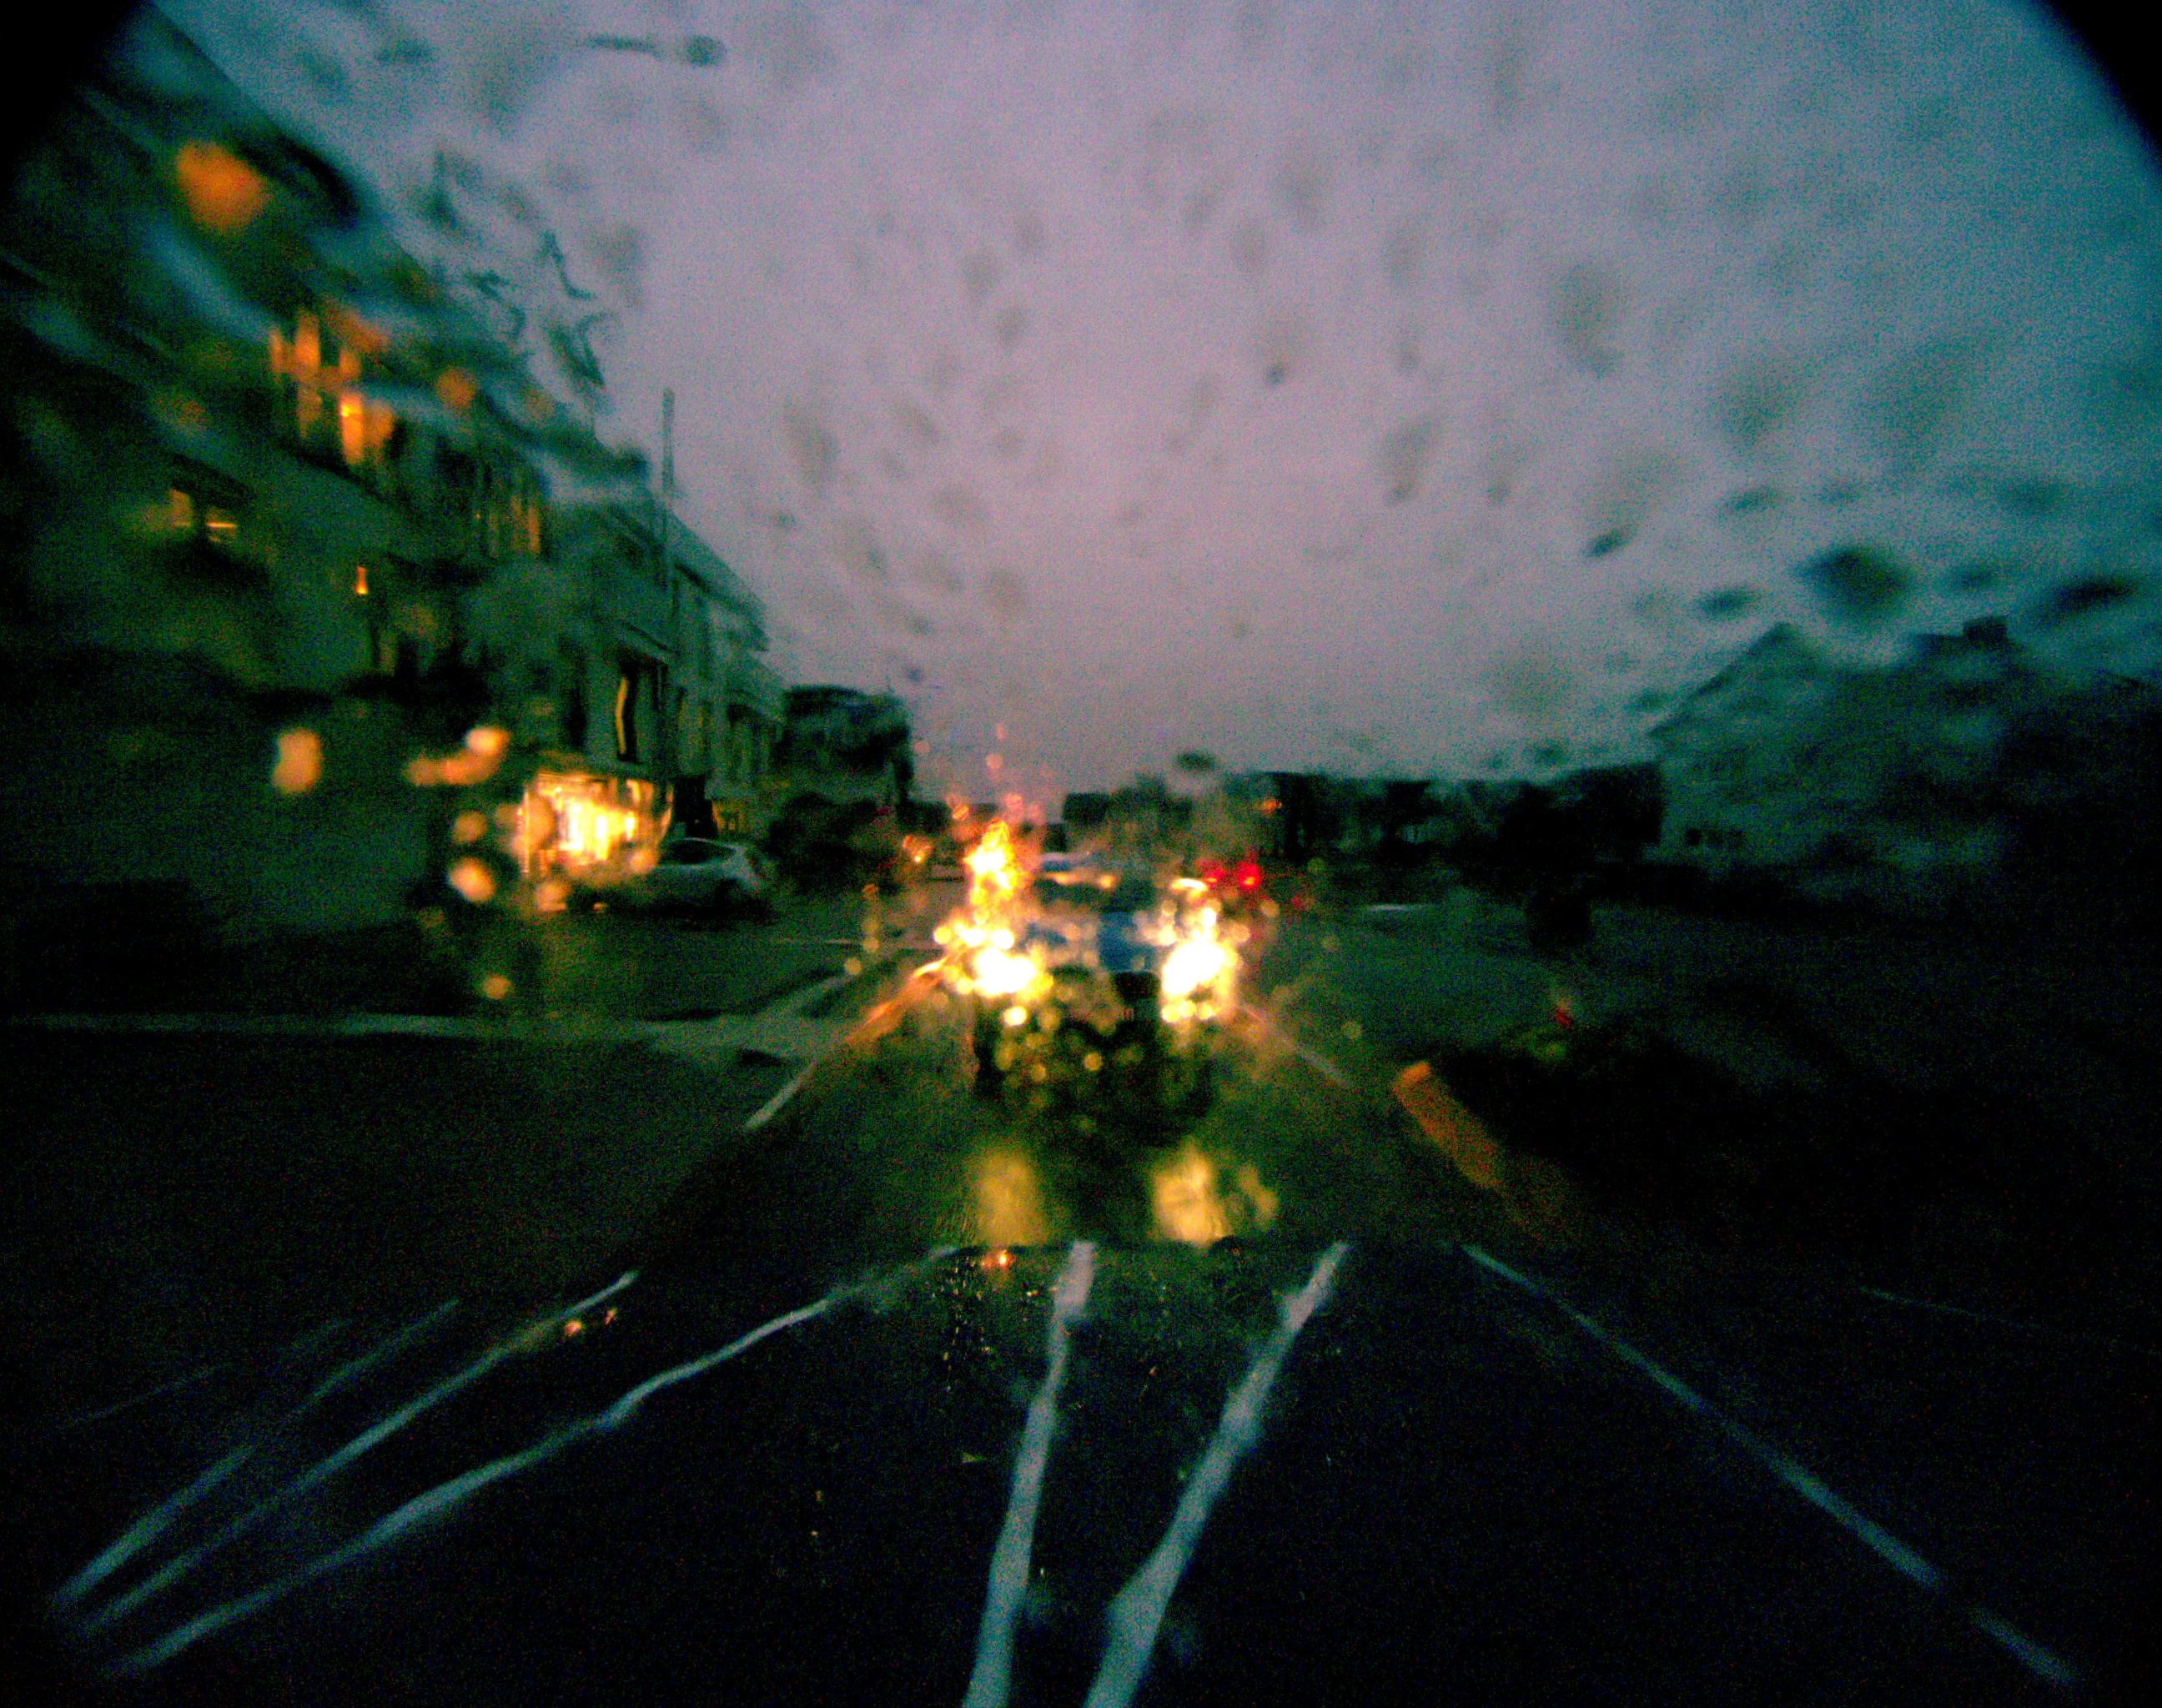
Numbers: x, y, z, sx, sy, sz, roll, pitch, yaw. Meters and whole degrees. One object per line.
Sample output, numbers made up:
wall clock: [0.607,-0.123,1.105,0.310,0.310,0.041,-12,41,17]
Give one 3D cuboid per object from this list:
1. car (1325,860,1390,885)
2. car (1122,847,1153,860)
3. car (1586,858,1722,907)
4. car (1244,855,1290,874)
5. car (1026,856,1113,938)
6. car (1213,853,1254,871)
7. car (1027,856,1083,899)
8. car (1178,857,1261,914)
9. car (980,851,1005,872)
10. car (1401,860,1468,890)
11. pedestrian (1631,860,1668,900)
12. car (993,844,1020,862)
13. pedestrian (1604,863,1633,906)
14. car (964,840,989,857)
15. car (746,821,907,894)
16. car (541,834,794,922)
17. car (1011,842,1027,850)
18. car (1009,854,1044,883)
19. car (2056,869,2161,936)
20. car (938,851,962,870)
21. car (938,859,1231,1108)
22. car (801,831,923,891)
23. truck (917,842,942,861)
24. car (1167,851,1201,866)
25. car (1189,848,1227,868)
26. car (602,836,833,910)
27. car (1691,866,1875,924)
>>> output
car: [17.910,1.164,49.486,1.801,1.460,4.251,1,1,-16]
car: [6.510,-0.086,88.361,1.802,1.460,4.607,1,1,-20]
car: [21.575,1.010,28.821,1.704,1.651,3.955,0,1,-12]
car: [15.023,0.834,61.588,1.801,1.460,4.251,1,1,-16]
car: [-0.372,0.859,16.986,1.682,1.614,3.998,0,0,-5]
car: [13.355,0.685,66.822,1.801,1.460,4.251,1,1,-16]
car: [-1.026,0.810,28.210,1.573,1.460,3.613,-1,0,-9]
car: [3.774,0.815,21.213,1.508,1.403,3.365,0,1,-4]
car: [-6.918,0.560,59.084,1.835,1.535,3.712,-1,0,-8]
car: [19.354,1.140,41.708,1.479,1.500,3.499,1,1,-13]
pedestrian: [17.780,0.803,23.762,0.693,1.242,0.602,0,1,-7]
car: [-8.488,-0.135,85.915,2.002,2.002,3.992,-1,1,-21]
pedestrian: [16.695,0.948,23.590,0.512,1.294,0.601,0,1,-40]
car: [-11.166,-0.588,80.788,1.726,1.802,4.128,-1,1,-21]
car: [-8.239,0.122,24.973,4.554,1.923,1.973,5,0,-6]
car: [-7.972,0.445,15.038,4.002,1.495,1.811,2,2,-13]
car: [-10.931,-1.452,133.724,1.802,1.460,4.249,1,1,-21]
car: [-2.923,0.745,41.086,1.741,1.434,3.998,-1,1,-4]
car: [30.474,1.418,21.531,4.001,1.673,1.715,3,2,-10]
car: [-10.822,0.520,62.772,1.849,1.577,3.765,1,0,-10]
car: [-0.120,0.846,6.947,1.889,1.569,3.998,-1,0,-5]
car: [-8.183,0.268,28.738,4.154,1.625,1.753,8,-1,-12]
truck: [-17.891,-0.318,89.262,2.251,2.218,6.094,-1,1,-17]
car: [10.386,0.436,76.997,1.678,1.460,4.010,2,-1,-20]
car: [11.909,0.356,71.586,1.801,1.816,4.250,1,1,-16]
car: [-8.502,0.421,18.154,4.522,1.484,1.973,3,1,-7]
car: [22.280,1.225,24.369,1.780,1.560,4.090,0,1,-9]
